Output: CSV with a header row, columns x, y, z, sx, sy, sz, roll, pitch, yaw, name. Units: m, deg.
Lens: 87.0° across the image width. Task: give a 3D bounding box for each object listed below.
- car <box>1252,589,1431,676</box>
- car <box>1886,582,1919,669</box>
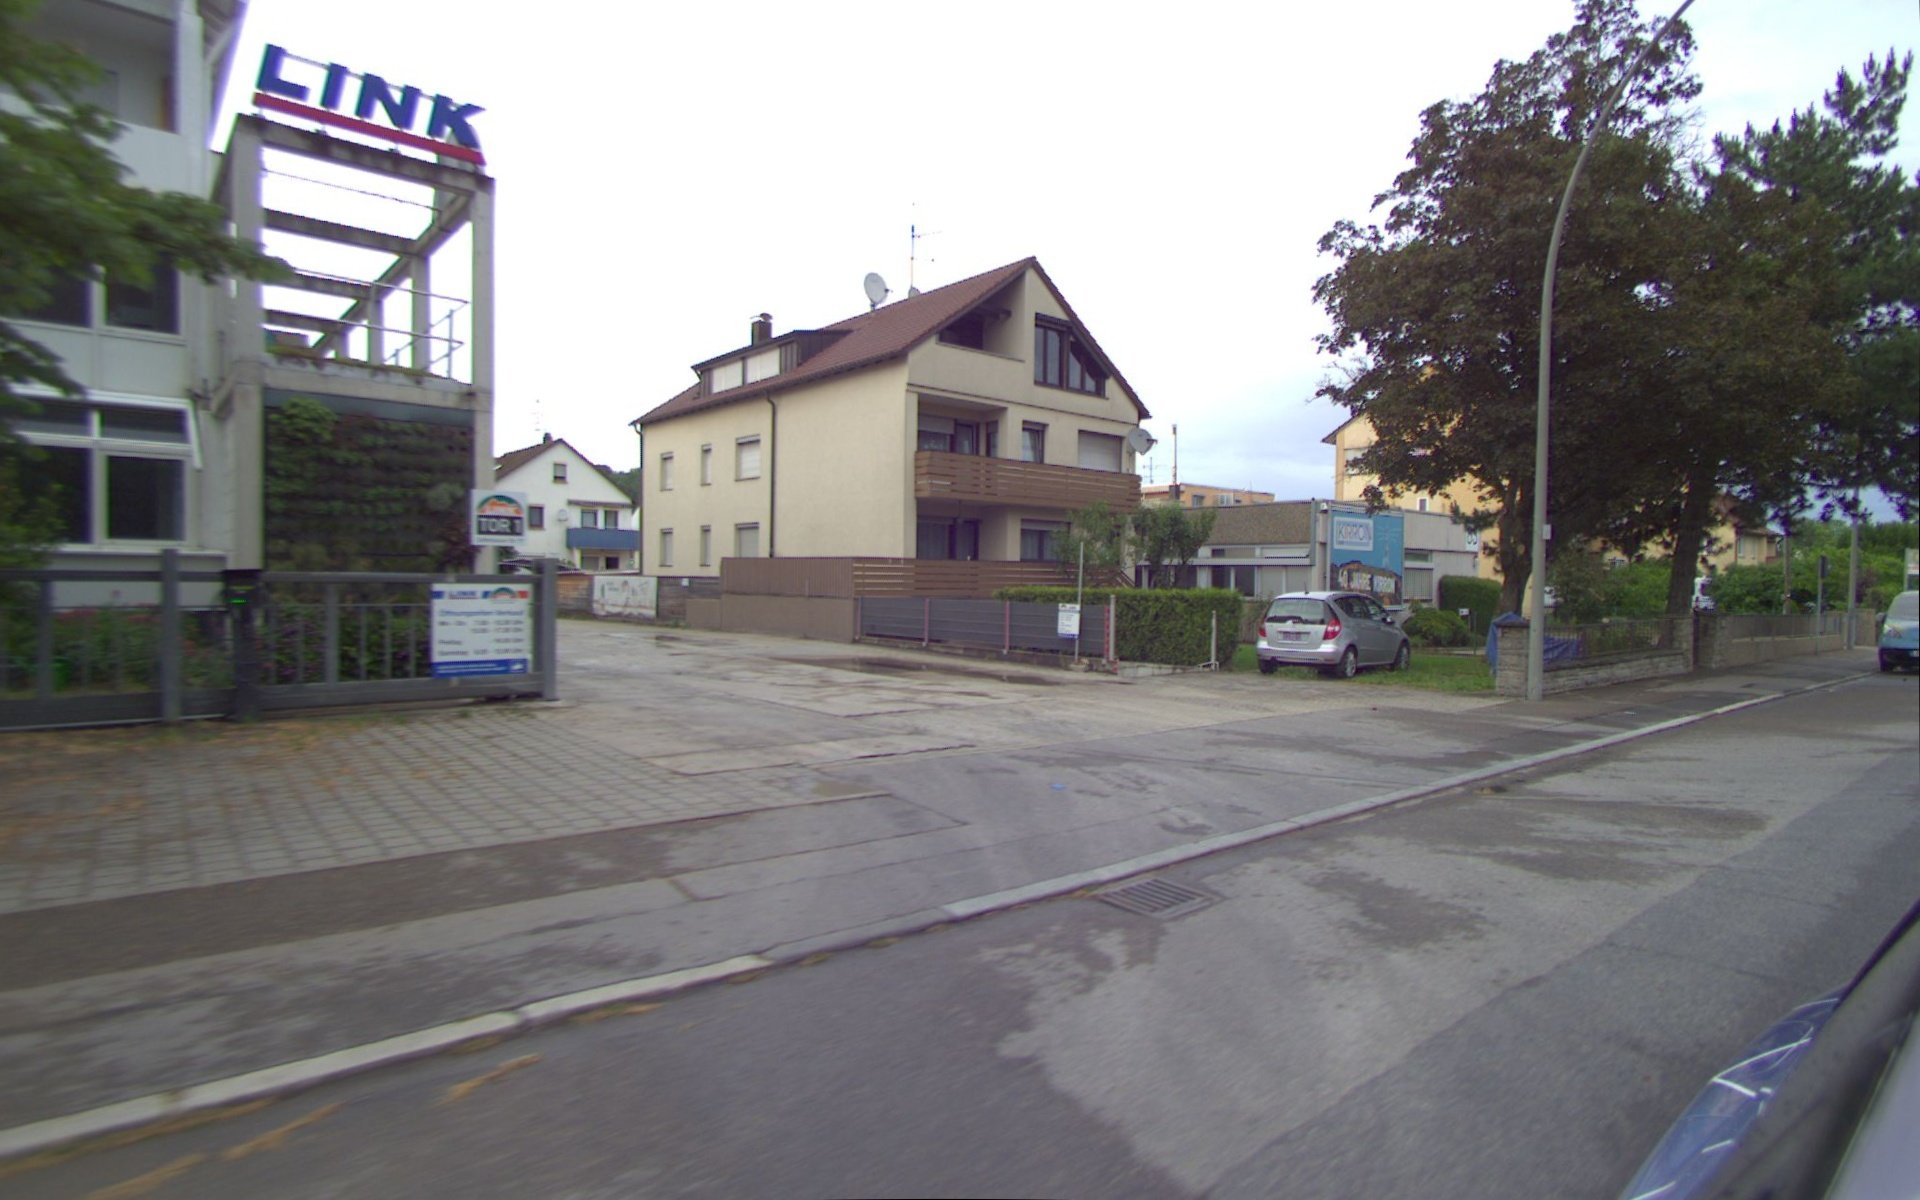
x,y,z,sx,sy,sz,roll,pitch,yaw,name
7.462,0.539,19.605,1.745,1.507,4.051,1,1,45,car
22.793,0.512,22.995,5.453,1.851,1.735,0,-1,-39,car
